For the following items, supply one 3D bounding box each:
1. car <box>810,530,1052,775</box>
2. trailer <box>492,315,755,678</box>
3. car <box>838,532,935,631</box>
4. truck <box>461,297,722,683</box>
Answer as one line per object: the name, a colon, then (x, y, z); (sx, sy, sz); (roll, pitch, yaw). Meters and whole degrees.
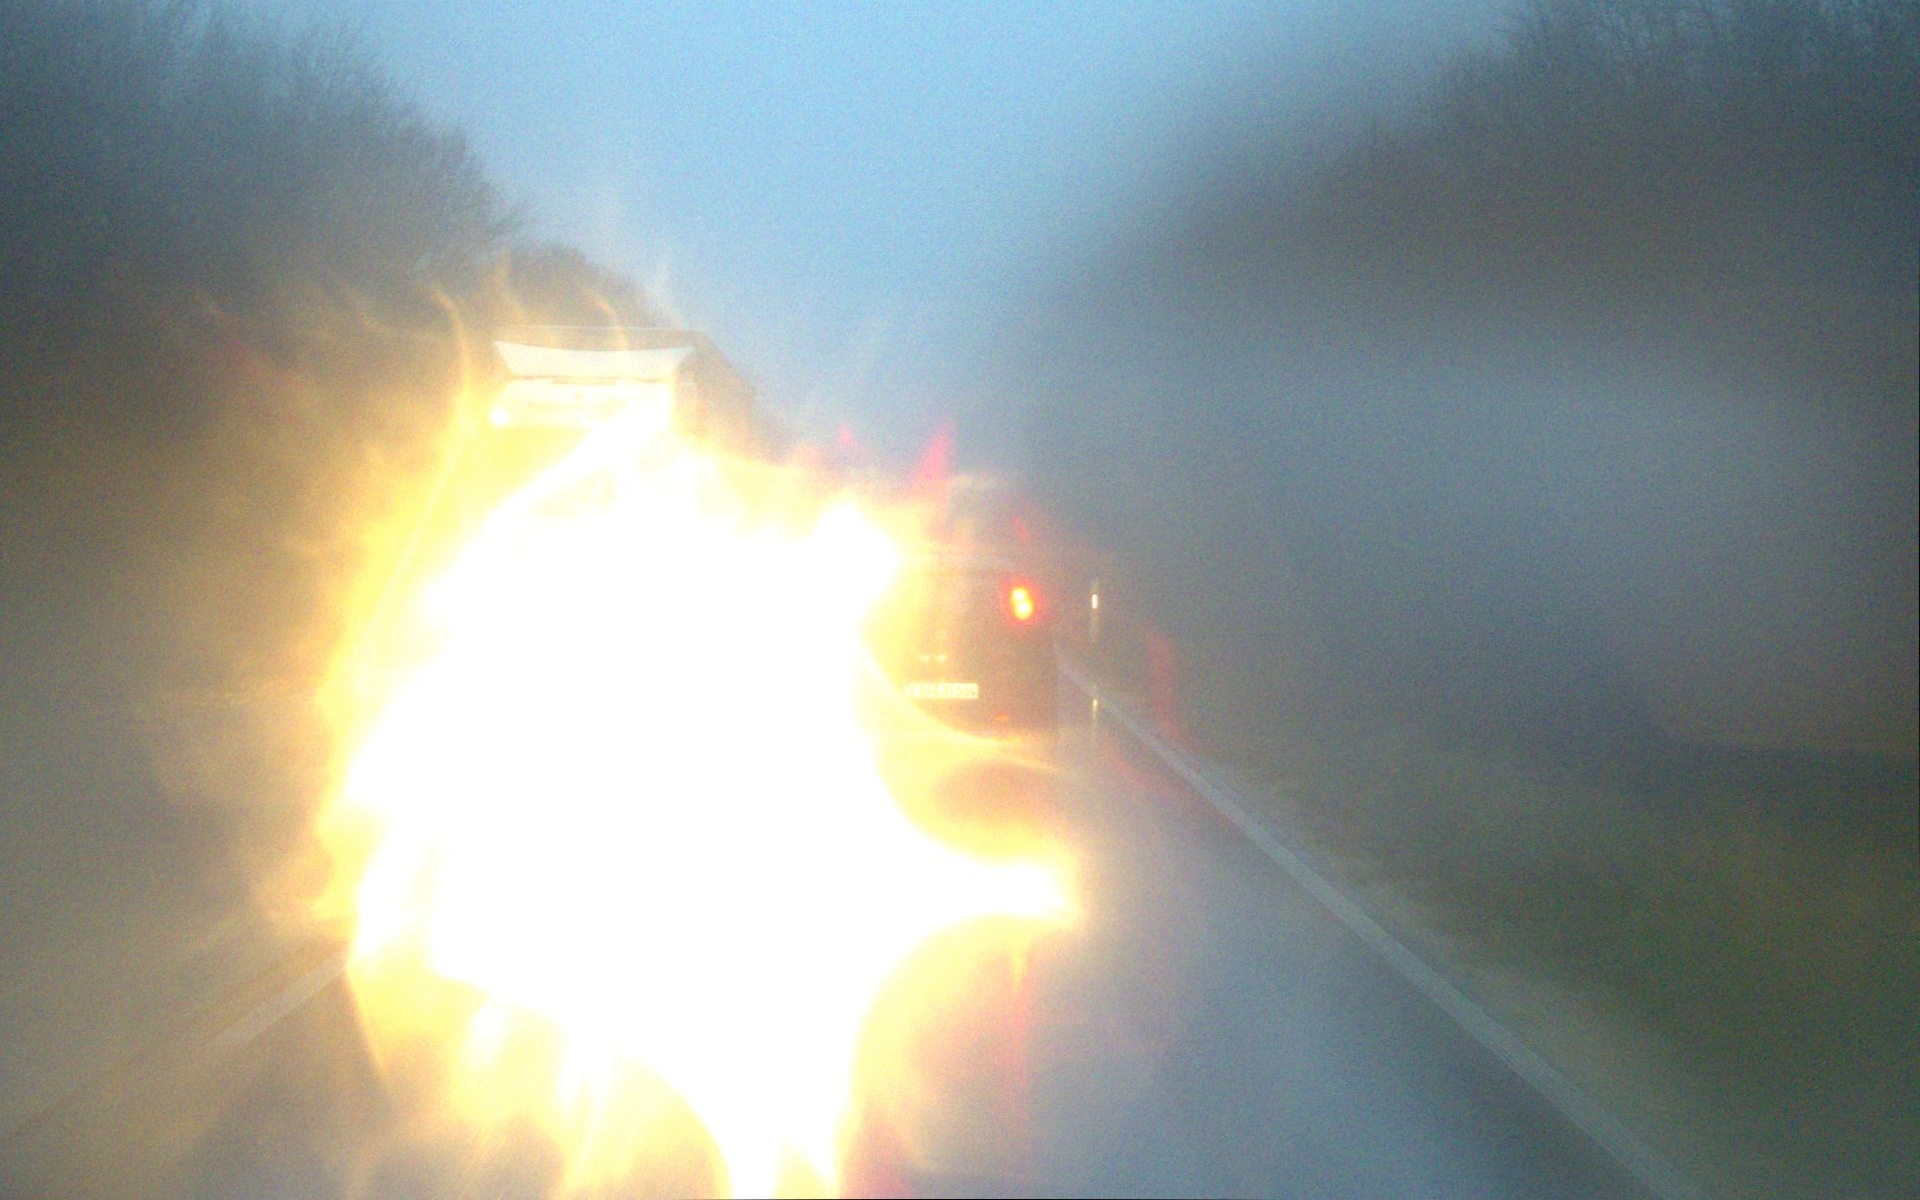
car: (-0.196, 0.337, 25.466); (1.648, 1.666, 3.514); (1, 1, 0)
trailer: (-4.521, -1.368, 48.564); (2.671, 4.442, 12.243); (1, 1, -1)
car: (-1.373, -0.366, 64.681); (1.733, 1.773, 4.000); (1, 1, -1)
truck: (-4.418, -1.300, 42.200); (2.642, 4.401, 5.554); (1, 1, -1)
